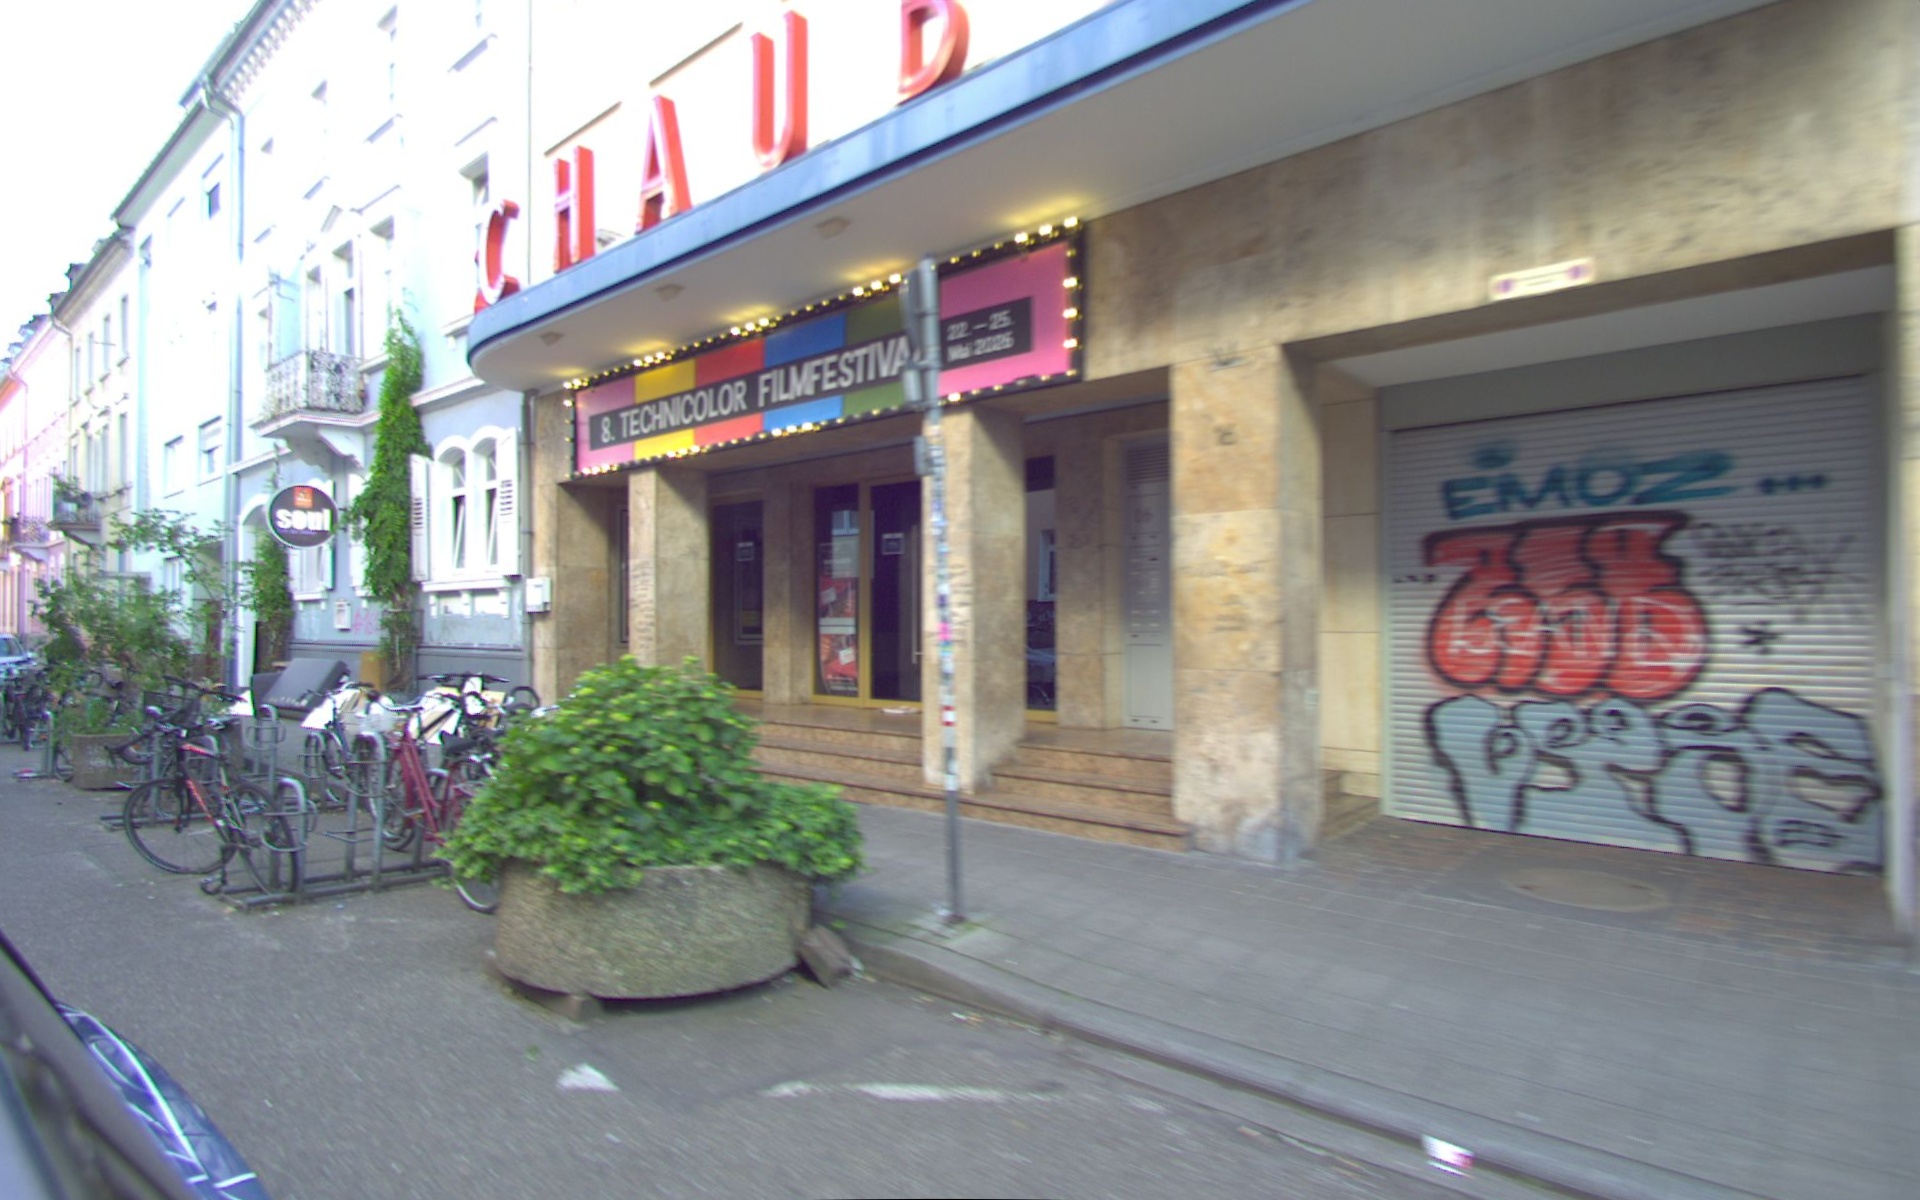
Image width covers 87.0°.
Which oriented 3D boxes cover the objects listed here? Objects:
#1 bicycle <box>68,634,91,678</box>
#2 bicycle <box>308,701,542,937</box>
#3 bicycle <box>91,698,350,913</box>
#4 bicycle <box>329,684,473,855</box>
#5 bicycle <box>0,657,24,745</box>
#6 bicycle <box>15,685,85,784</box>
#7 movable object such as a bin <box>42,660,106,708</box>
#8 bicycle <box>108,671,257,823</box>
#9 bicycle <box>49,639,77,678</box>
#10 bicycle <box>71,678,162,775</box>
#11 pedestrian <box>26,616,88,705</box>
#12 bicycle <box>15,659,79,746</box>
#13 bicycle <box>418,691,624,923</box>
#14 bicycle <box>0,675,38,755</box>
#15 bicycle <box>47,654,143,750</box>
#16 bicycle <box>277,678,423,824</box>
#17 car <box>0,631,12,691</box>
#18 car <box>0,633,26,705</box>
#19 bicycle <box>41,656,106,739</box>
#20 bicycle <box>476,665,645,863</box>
[{"bbox_3d":[-26.206,1.641,30.120,1.493,1.269,0.315,-2,-1,41],"label":"bicycle"},{"bbox_3d":[-3.093,1.161,5.766,1.862,1.055,0.438,-2,-1,38],"label":"bicycle"},{"bbox_3d":[-4.356,1.141,5.931,1.740,1.055,0.458,-1,-1,26],"label":"bicycle"},{"bbox_3d":[-4.019,1.166,7.245,1.316,1.055,0.413,-2,-1,38],"label":"bicycle"},{"bbox_3d":[-13.324,1.370,13.900,1.829,1.114,0.494,-2,-1,41],"label":"bicycle"},{"bbox_3d":[-9.663,1.397,10.730,1.392,0.923,0.386,-2,-3,42],"label":"bicycle"},{"bbox_3d":[-18.068,1.709,20.646,0.832,0.904,0.587,0,-1,-20],"label":"movable object such as a bin"},{"bbox_3d":[-6.672,1.198,8.650,1.879,1.102,0.541,-2,-1,38],"label":"bicycle"},{"bbox_3d":[-26.411,1.715,29.789,1.493,1.110,0.413,-2,-1,41],"label":"bicycle"},{"bbox_3d":[-9.533,1.395,11.418,1.571,0.951,0.548,-2,-3,42],"label":"bicycle"},{"bbox_3d":[-17.908,1.174,20.087,0.703,1.720,0.674,0,-1,-18],"label":"pedestrian"},{"bbox_3d":[-12.971,1.420,14.362,1.930,1.114,0.439,-2,-1,41],"label":"bicycle"},{"bbox_3d":[-2.736,1.195,6.224,1.667,1.182,0.395,-2,-1,37],"label":"bicycle"},{"bbox_3d":[-12.074,1.442,12.901,1.290,0.923,0.318,-2,-3,42],"label":"bicycle"},{"bbox_3d":[-11.411,1.316,13.351,0.919,1.184,0.805,-2,-2,39],"label":"bicycle"},{"bbox_3d":[-5.092,1.208,8.425,1.407,1.053,0.568,-1,-1,37],"label":"bicycle"},{"bbox_3d":[-25.262,1.513,25.329,3.997,1.463,1.771,-2,-3,41],"label":"car"},{"bbox_3d":[-21.222,1.433,21.600,4.035,1.466,1.662,-2,-4,45],"label":"car"},{"bbox_3d":[-13.075,1.409,14.916,1.872,1.114,0.439,-2,-1,40],"label":"bicycle"},{"bbox_3d":[-2.740,1.057,6.868,1.488,1.182,0.335,-2,-1,37],"label":"bicycle"}]
